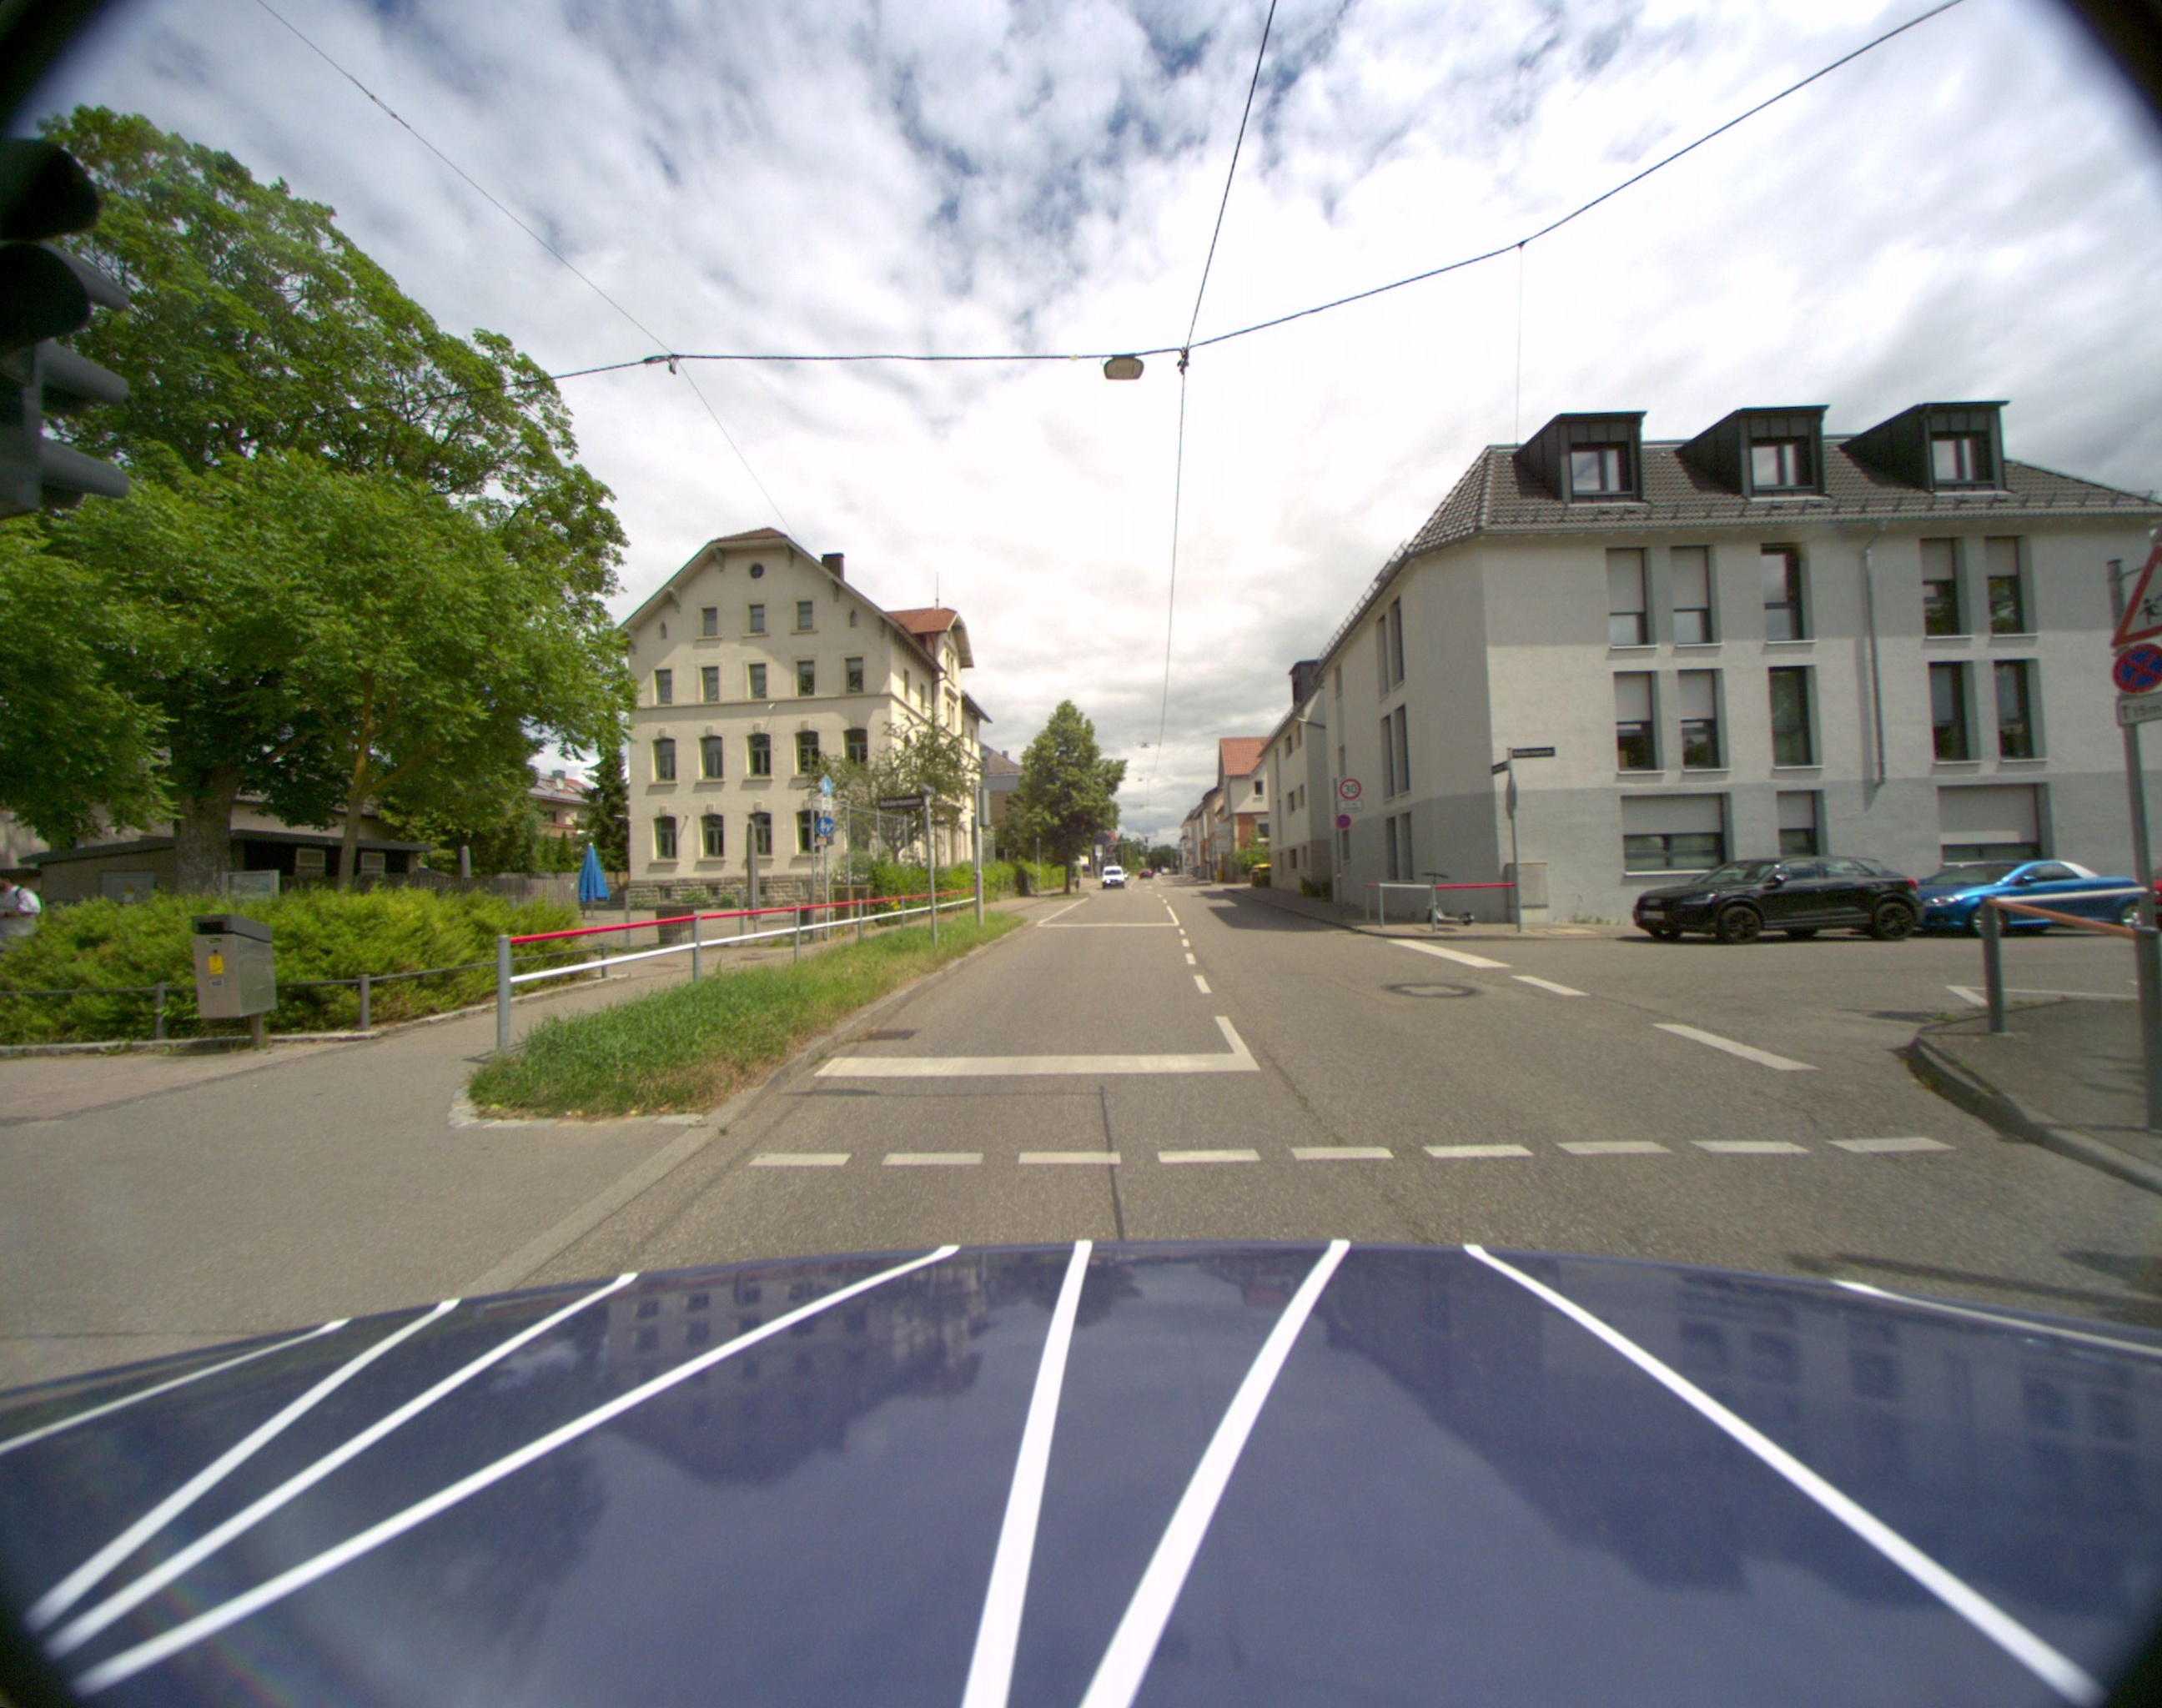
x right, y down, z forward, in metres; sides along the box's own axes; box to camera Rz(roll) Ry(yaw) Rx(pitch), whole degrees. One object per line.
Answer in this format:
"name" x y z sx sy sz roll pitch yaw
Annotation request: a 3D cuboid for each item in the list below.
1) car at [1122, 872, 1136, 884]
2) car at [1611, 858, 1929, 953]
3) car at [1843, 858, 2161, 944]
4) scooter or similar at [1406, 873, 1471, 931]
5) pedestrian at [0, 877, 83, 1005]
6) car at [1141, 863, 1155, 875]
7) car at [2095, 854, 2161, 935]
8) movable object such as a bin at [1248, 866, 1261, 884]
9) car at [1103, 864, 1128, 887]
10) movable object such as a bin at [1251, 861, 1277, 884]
"car" 6.715 3.283 105.381 1.794 1.477 4.003 -3 -2 5
"car" 12.225 0.908 13.698 3.997 1.467 1.859 -2 -3 -1
"car" 16.695 0.847 13.889 3.791 1.391 1.603 -2 -3 1
"scooter or similar" 8.152 1.067 17.374 0.491 1.254 1.305 -1 0 -25
"pedestrian" -15.682 1.265 11.048 0.751 1.806 1.147 -1 -4 -6
"car" 9.356 2.098 106.594 1.794 1.477 4.003 -3 -2 5
"car" 21.480 0.710 13.958 3.610 1.463 1.551 -1 -3 -2
"movable object such as a bin" 10.877 1.312 47.623 0.642 1.069 0.660 -2 0 1
"car" 2.779 1.705 61.890 1.893 1.717 4.294 -2 -1 2
"movable object such as a bin" 11.806 1.184 49.051 1.338 1.437 1.171 -2 0 0
